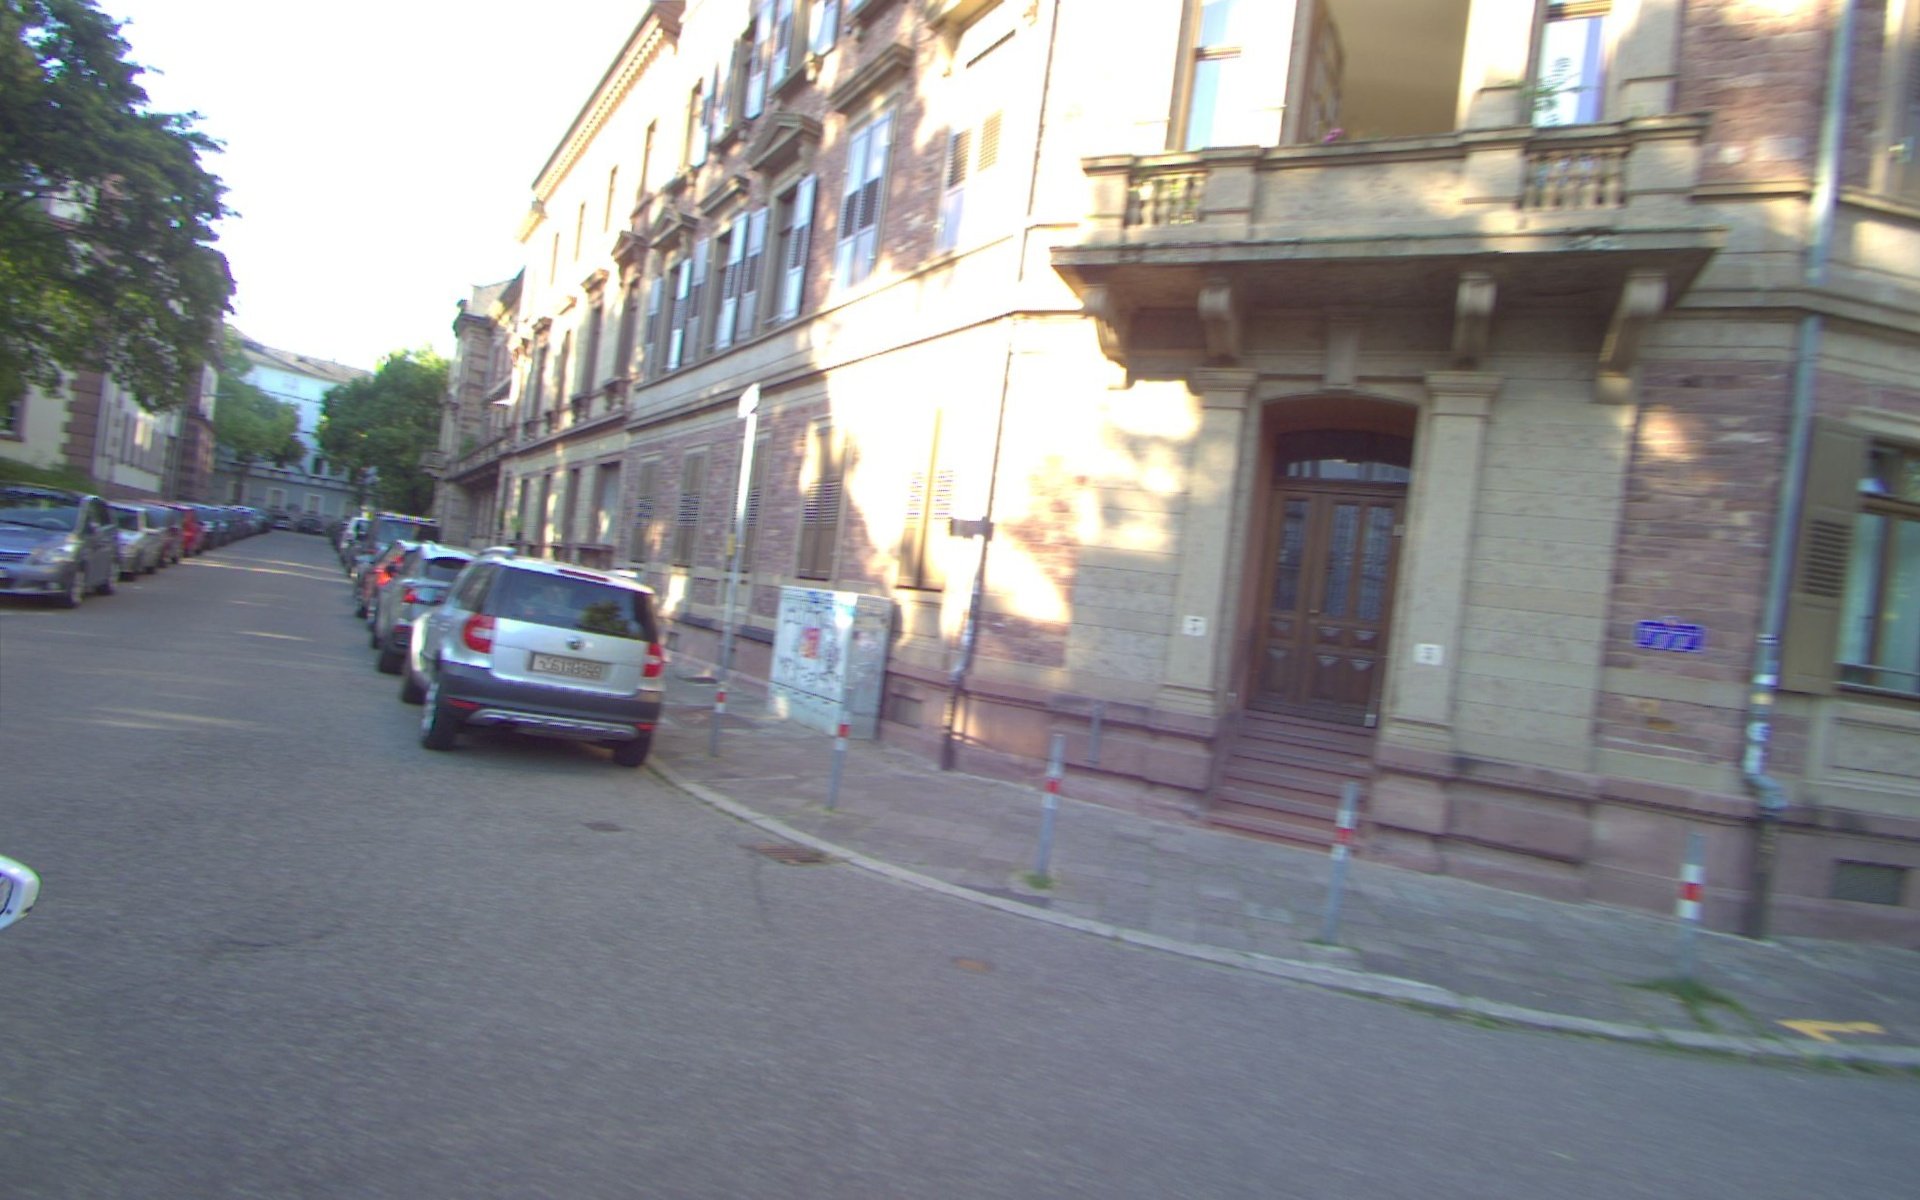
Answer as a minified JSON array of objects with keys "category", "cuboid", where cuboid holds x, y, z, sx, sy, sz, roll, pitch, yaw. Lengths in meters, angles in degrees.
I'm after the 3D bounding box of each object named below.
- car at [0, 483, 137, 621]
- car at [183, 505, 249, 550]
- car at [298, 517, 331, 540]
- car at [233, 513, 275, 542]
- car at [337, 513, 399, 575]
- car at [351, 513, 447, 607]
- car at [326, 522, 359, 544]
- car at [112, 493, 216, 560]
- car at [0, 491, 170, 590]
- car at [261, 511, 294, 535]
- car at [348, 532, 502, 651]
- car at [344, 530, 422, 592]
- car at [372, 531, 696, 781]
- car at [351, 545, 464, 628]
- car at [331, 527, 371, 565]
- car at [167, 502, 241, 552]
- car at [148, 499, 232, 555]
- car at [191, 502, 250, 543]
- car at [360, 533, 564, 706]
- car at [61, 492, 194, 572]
[{"category":"car","cuboid":[-13.758,-0.801,14.802,1.816,1.632,4.254,12,-3,-32]},{"category":"car","cuboid":[-32.632,-3.158,44.200,1.816,1.516,3.897,12,-3,-32]},{"category":"car","cuboid":[-58.905,-6.479,91.810,1.986,1.702,3.959,10,-3,-38]},{"category":"car","cuboid":[-46.255,-4.746,65.976,1.816,1.516,3.897,12,-3,-32]},{"category":"car","cuboid":[-24.423,-2.315,41.462,1.788,2.095,3.920,11,-2,-33]},{"category":"car","cuboid":[-15.345,-1.128,27.408,1.788,2.095,3.920,11,-2,-33]},{"category":"car","cuboid":[-57.254,-6.171,93.285,1.986,1.702,3.959,10,-3,-38]},{"category":"car","cuboid":[-23.755,-2.182,30.174,1.816,1.516,3.897,12,-3,-32]},{"category":"car","cuboid":[-17.398,-1.189,20.203,1.816,1.462,3.897,12,-3,-32]},{"category":"car","cuboid":[-60.875,-6.868,89.690,1.986,1.702,3.959,10,-3,-38]},{"category":"car","cuboid":[-9.679,-0.217,18.044,1.790,1.631,3.917,11,-2,-35]},{"category":"car","cuboid":[-18.351,-1.273,31.924,1.788,1.540,3.920,11,-2,-33]},{"category":"car","cuboid":[-4.222,0.390,9.516,1.906,1.674,4.150,12,-3,-33]},{"category":"car","cuboid":[-12.340,-0.359,22.350,1.788,1.360,3.920,11,-3,-33]},{"category":"car","cuboid":[-38.351,-3.422,63.311,1.788,2.039,3.920,11,-2,-33]},{"category":"car","cuboid":[-30.016,-2.875,40.024,1.816,1.516,3.897,12,-3,-32]},{"category":"car","cuboid":[-27.206,-2.568,35.658,1.816,1.516,3.897,12,-3,-32]},{"category":"car","cuboid":[-35.737,-3.721,48.725,1.816,1.516,3.897,12,-3,-32]},{"category":"car","cuboid":[-6.933,0.143,13.719,1.816,1.742,4.504,11,-3,-32]},{"category":"car","cuboid":[-20.398,-1.658,24.814,1.816,1.494,3.897,12,-3,-32]}]
